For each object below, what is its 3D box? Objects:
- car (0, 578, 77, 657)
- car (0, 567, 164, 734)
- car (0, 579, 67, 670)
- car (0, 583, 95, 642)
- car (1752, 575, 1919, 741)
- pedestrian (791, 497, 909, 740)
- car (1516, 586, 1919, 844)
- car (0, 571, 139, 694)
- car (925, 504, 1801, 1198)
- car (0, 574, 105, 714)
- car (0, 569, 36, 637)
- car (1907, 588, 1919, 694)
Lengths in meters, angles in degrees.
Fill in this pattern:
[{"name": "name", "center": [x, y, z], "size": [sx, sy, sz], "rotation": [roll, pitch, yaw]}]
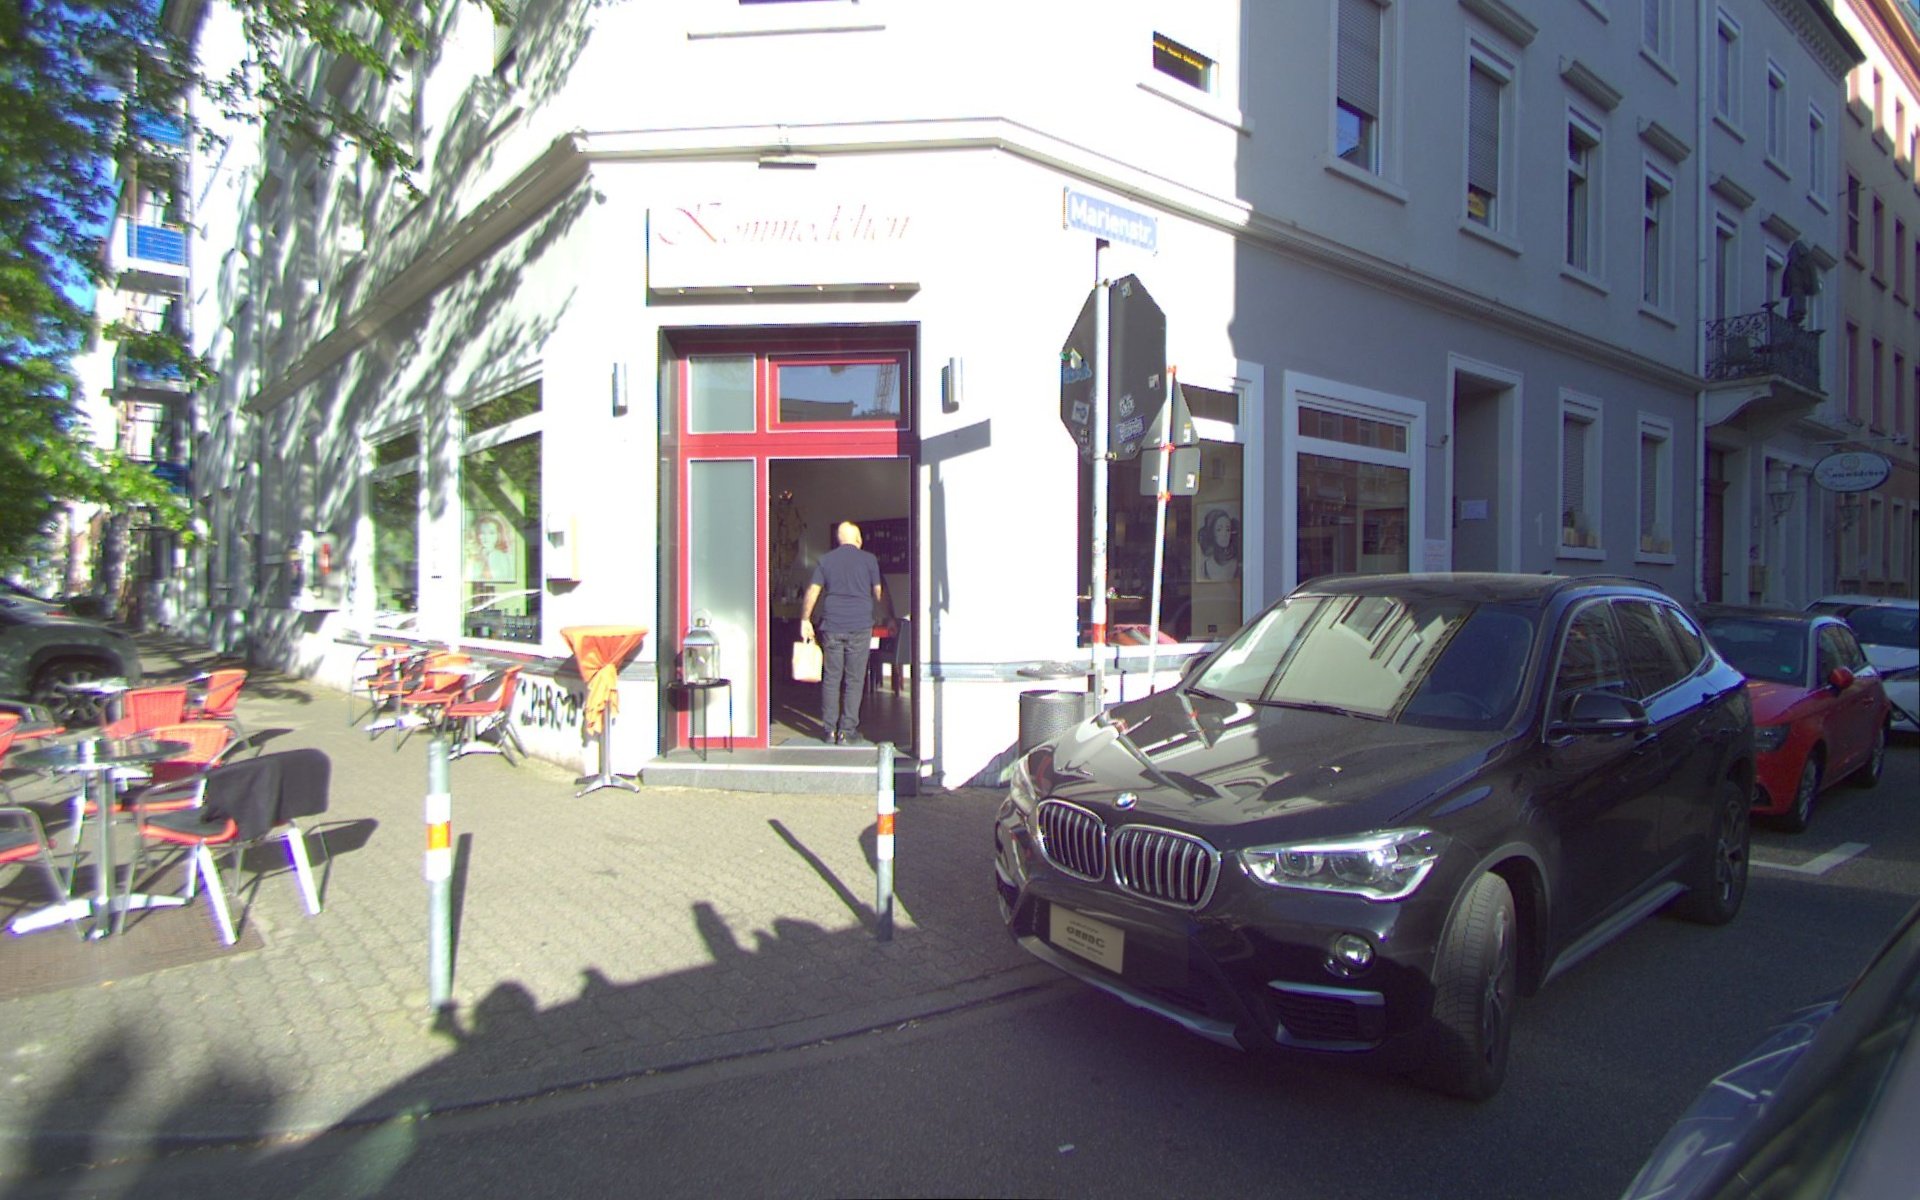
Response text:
[{"name": "car", "center": [-19.927, 0.370, 19.596], "size": [1.613, 1.506, 4.076], "rotation": [2, 3, 40]}, {"name": "car", "center": [-10.134, 0.506, 9.363], "size": [1.601, 1.574, 4.107], "rotation": [1, 2, 22]}, {"name": "car", "center": [-17.601, 0.455, 16.638], "size": [1.608, 1.506, 4.090], "rotation": [1, 3, 32]}, {"name": "car", "center": [-26.176, 0.339, 27.323], "size": [1.596, 1.506, 4.120], "rotation": [1, 2, 14]}, {"name": "car", "center": [10.475, 0.559, 11.372], "size": [3.720, 1.607, 1.640], "rotation": [0, -1, -39]}, {"name": "pedestrian", "center": [-0.851, 0.137, 8.044], "size": [0.848, 1.822, 0.852], "rotation": [0, 0, -1]}, {"name": "car", "center": [6.043, 0.679, 7.857], "size": [3.883, 1.522, 1.649], "rotation": [0, -1, -39]}, {"name": "car", "center": [-13.441, 0.445, 13.089], "size": [1.604, 1.574, 4.099], "rotation": [1, 3, 27]}, {"name": "car", "center": [2.023, 0.608, 4.451], "size": [4.121, 1.683, 1.764], "rotation": [0, -1, -39]}, {"name": "car", "center": [-11.998, 0.544, 10.901], "size": [1.596, 1.574, 4.120], "rotation": [1, 2, 14]}, {"name": "car", "center": [-28.416, 0.138, 27.804], "size": [1.861, 1.910, 4.120], "rotation": [1, 2, 14]}, {"name": "car", "center": [15.829, 0.567, 15.202], "size": [4.113, 1.530, 1.683], "rotation": [0, -1, -38]}]
